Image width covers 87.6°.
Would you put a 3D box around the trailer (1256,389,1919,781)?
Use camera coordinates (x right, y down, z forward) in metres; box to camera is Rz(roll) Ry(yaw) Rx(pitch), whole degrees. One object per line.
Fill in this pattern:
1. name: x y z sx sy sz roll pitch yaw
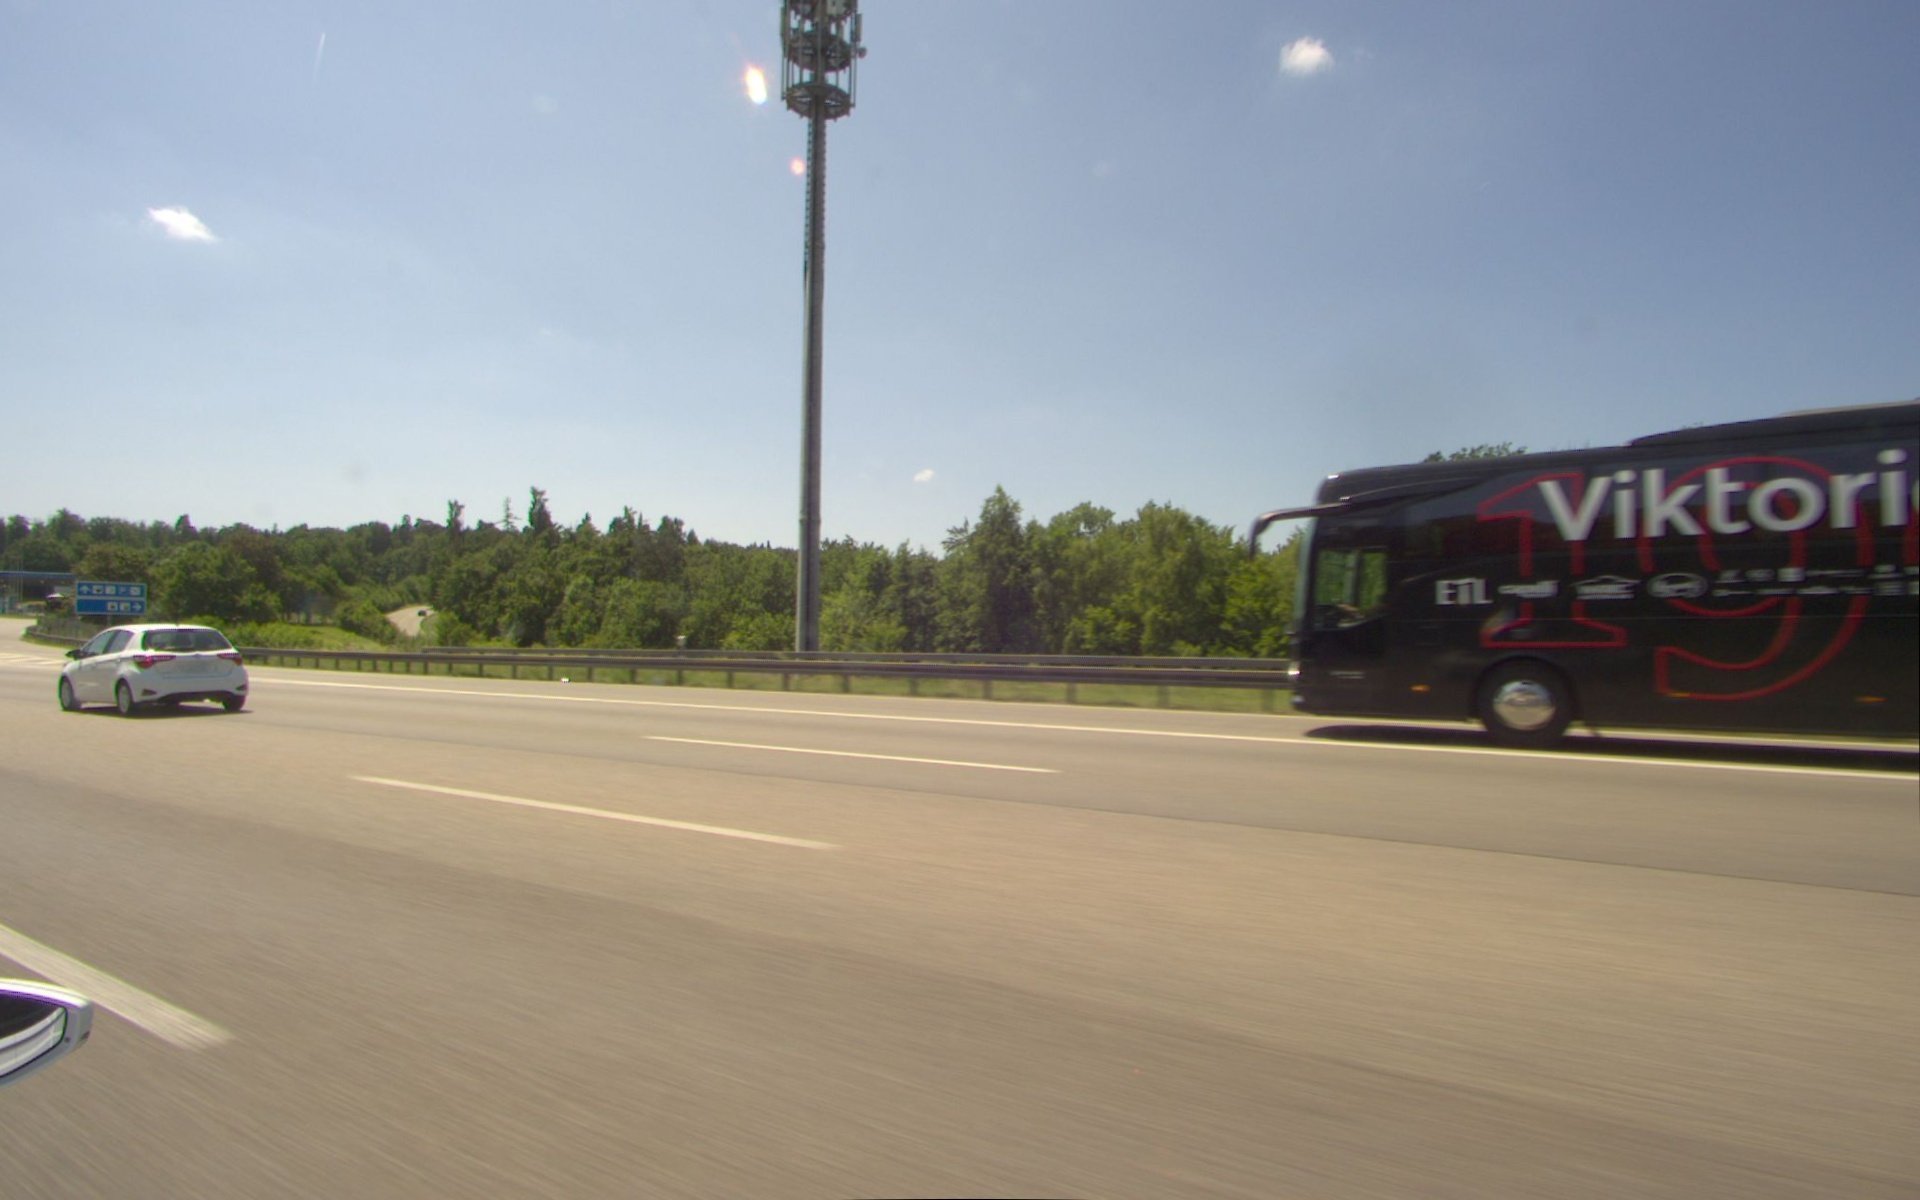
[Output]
1. trailer: 10.187 -0.110 10.538 13.353 3.735 2.852 -1 -2 33

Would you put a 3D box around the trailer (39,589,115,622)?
1. trailer: -108.250 0.593 123.016 3.119 3.686 13.566 1 1 -24

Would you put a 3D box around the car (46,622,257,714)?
1. car: -14.261 1.111 17.594 4.314 1.452 1.663 -1 -1 33
